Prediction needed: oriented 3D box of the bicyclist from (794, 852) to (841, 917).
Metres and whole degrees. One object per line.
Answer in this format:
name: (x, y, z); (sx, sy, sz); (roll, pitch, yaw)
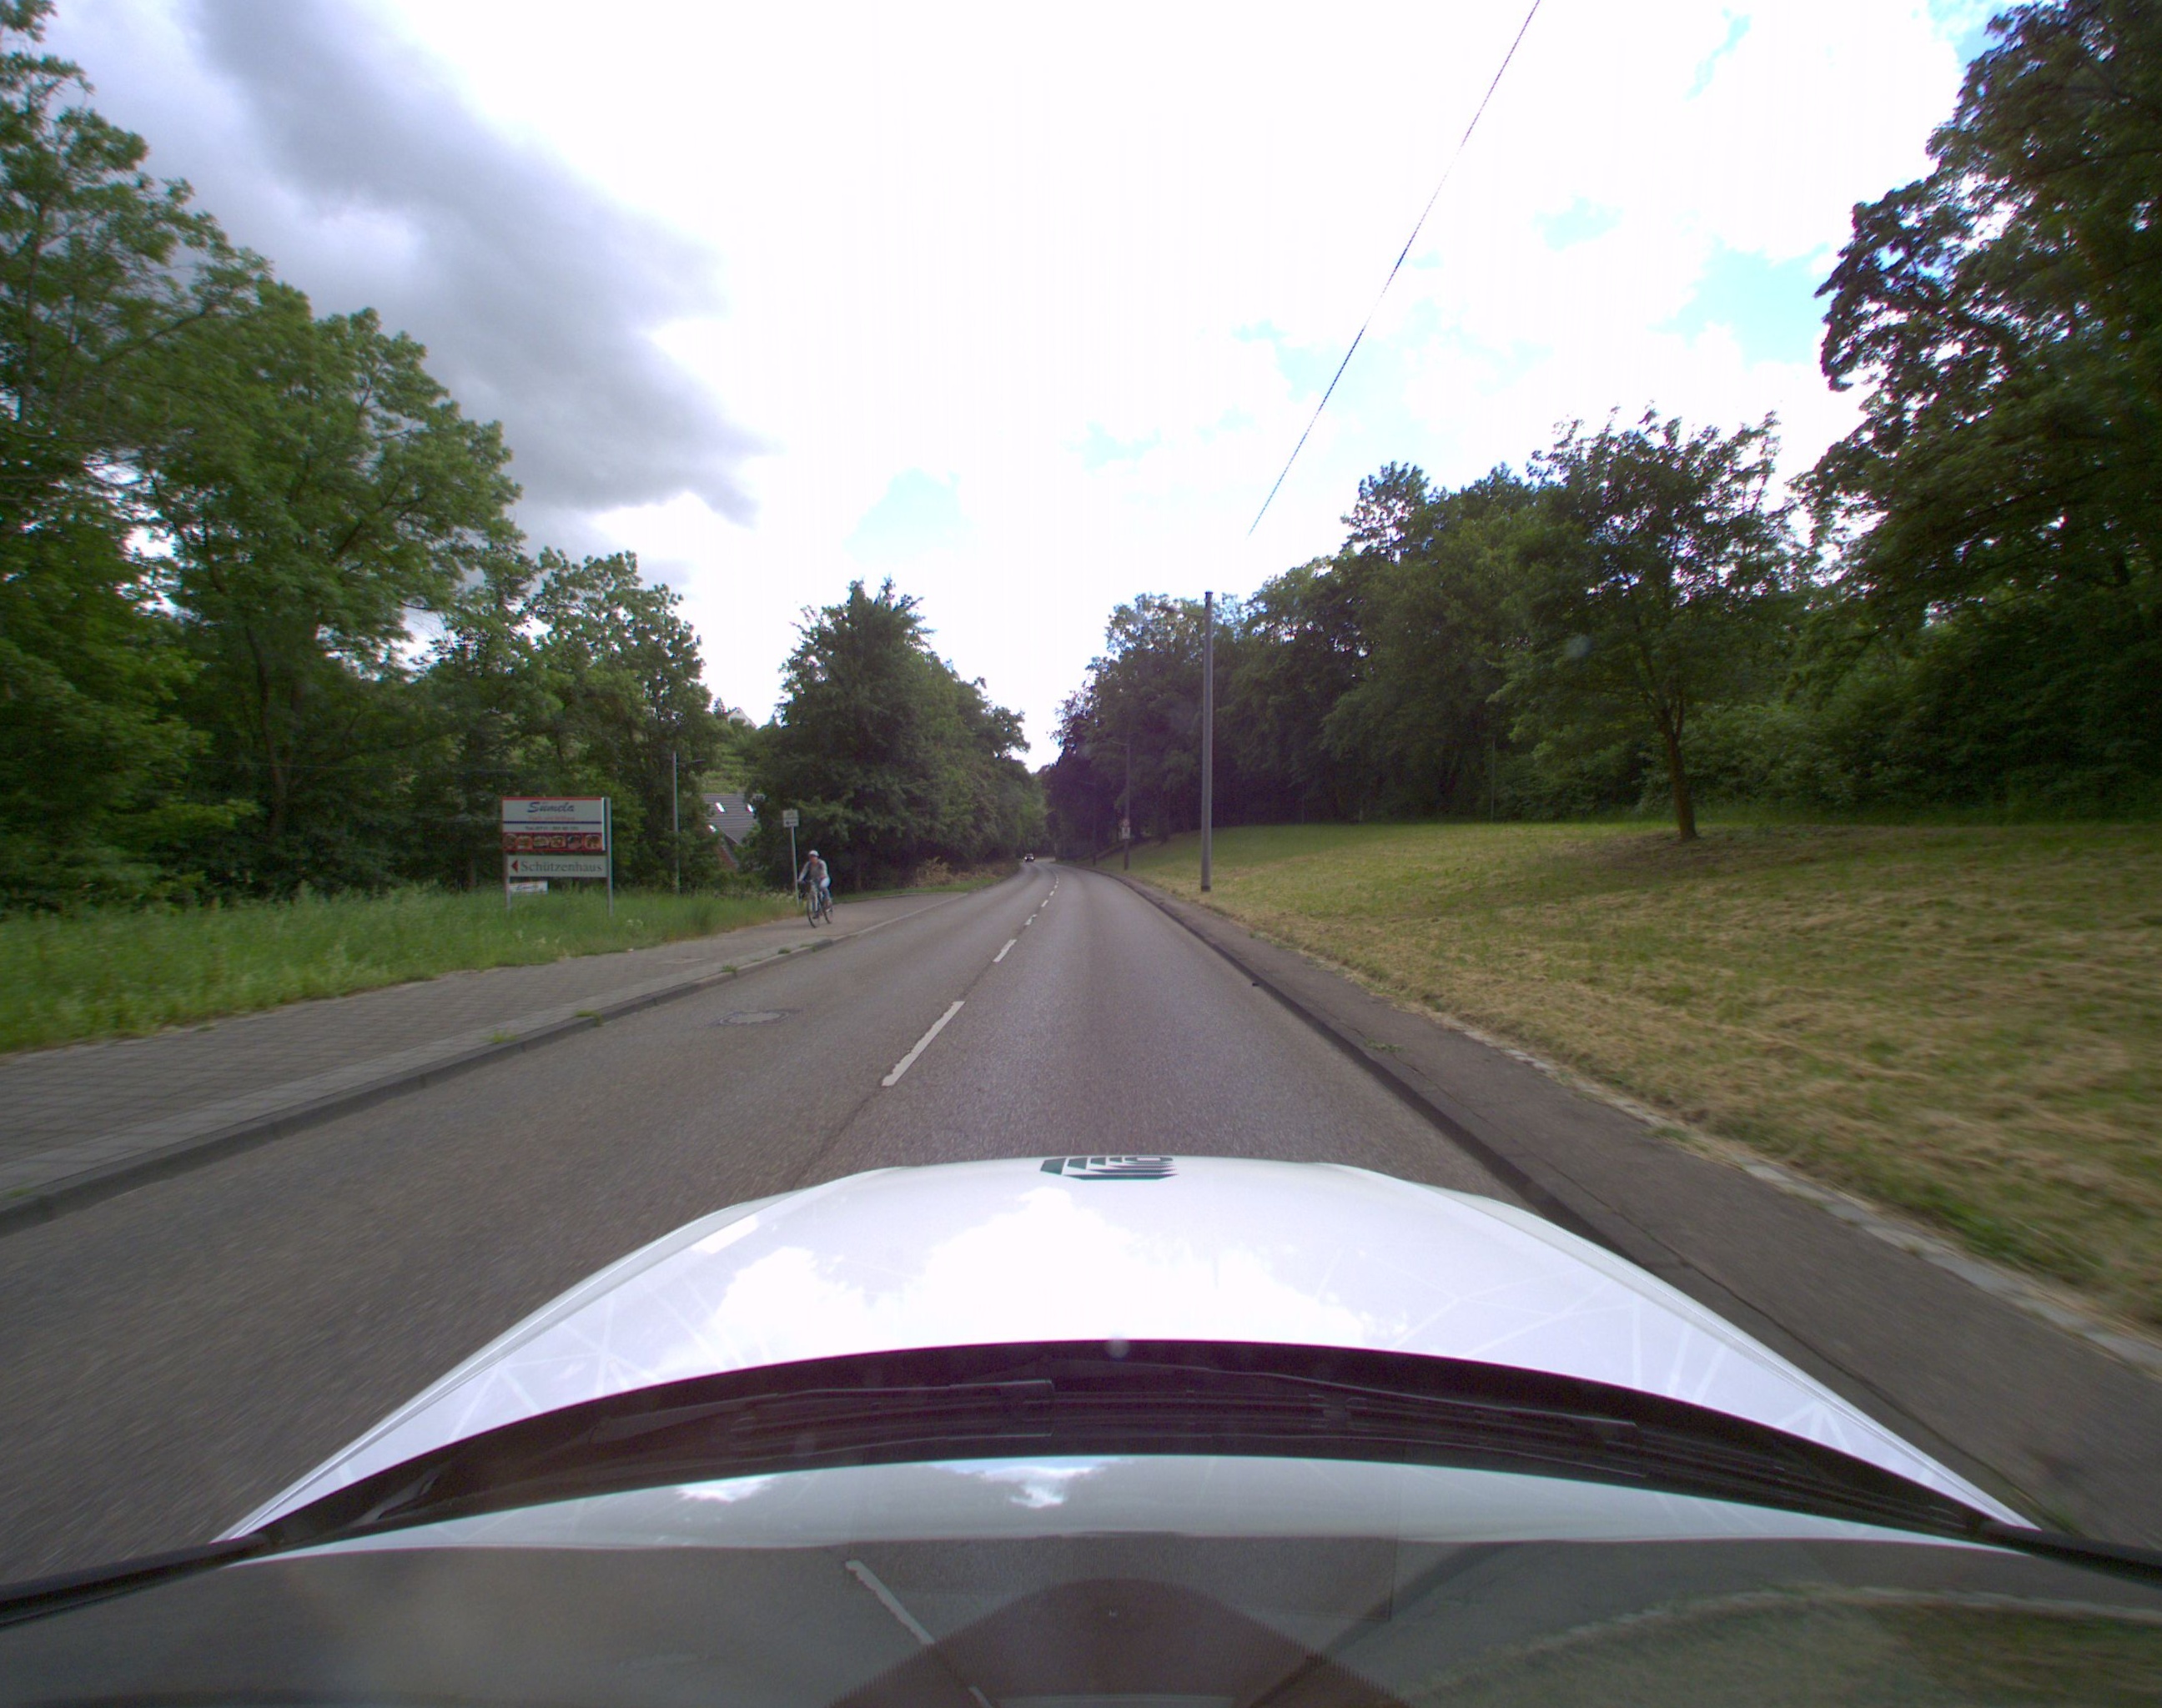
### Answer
bicyclist: (-5.925, 0.672, 18.349); (0.824, 1.427, 0.780); (0, -1, -3)

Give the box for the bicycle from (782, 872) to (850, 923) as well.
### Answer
bicycle: (-5.918, 0.948, 18.369); (0.827, 1.036, 2.440); (1, -1, -3)

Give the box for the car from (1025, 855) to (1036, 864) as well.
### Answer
car: (-11.576, 1.342, 186.219); (1.986, 2.014, 4.001); (1, -1, 1)
